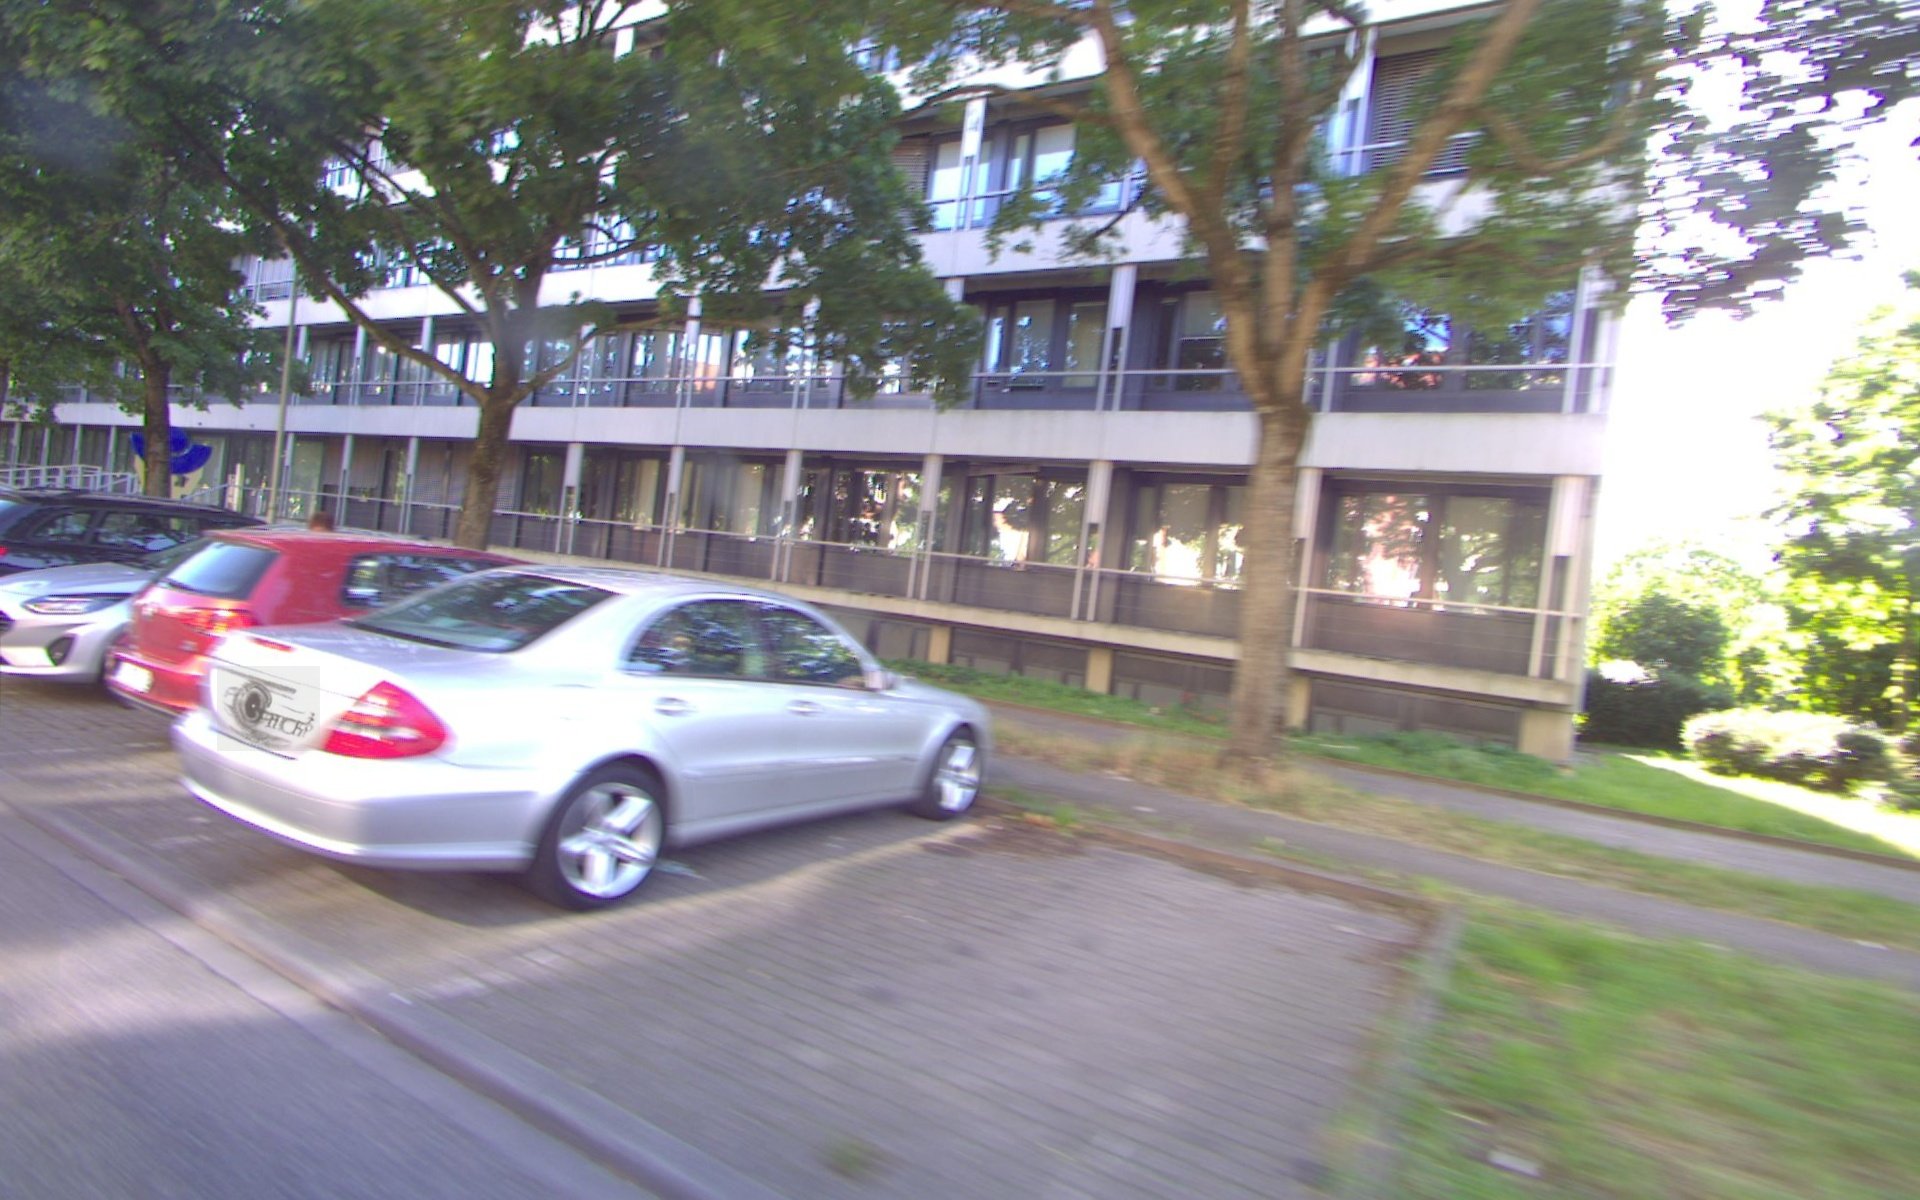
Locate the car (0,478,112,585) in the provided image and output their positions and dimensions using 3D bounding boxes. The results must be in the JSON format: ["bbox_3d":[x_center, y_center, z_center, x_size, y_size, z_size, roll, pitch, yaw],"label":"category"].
[{"bbox_3d":[-15.554,-1.187,14.764,1.969,1.512,4.290,7,1,29],"label":"car"}]

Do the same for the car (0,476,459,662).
[{"bbox_3d":[-7.905,-0.267,10.318,1.892,1.562,4.513,7,1,35],"label":"car"}]

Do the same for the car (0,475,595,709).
[{"bbox_3d":[-5.891,-0.020,9.091,1.891,1.562,4.514,7,1,35],"label":"car"}]

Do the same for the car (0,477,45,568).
[{"bbox_3d":[-18.074,-1.481,16.221,1.733,1.513,4.592,7,2,31],"label":"car"}]

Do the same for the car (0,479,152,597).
[{"bbox_3d":[-13.652,-0.954,13.704,1.589,1.512,3.748,7,1,28],"label":"car"}]

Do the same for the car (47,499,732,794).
[{"bbox_3d":[-3.819,0.289,7.327,1.892,1.466,3.836,7,1,35],"label":"car"}]

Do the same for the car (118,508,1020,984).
[{"bbox_3d":[-1.572,0.546,5.716,1.718,1.494,4.580,7,1,32],"label":"car"}]
